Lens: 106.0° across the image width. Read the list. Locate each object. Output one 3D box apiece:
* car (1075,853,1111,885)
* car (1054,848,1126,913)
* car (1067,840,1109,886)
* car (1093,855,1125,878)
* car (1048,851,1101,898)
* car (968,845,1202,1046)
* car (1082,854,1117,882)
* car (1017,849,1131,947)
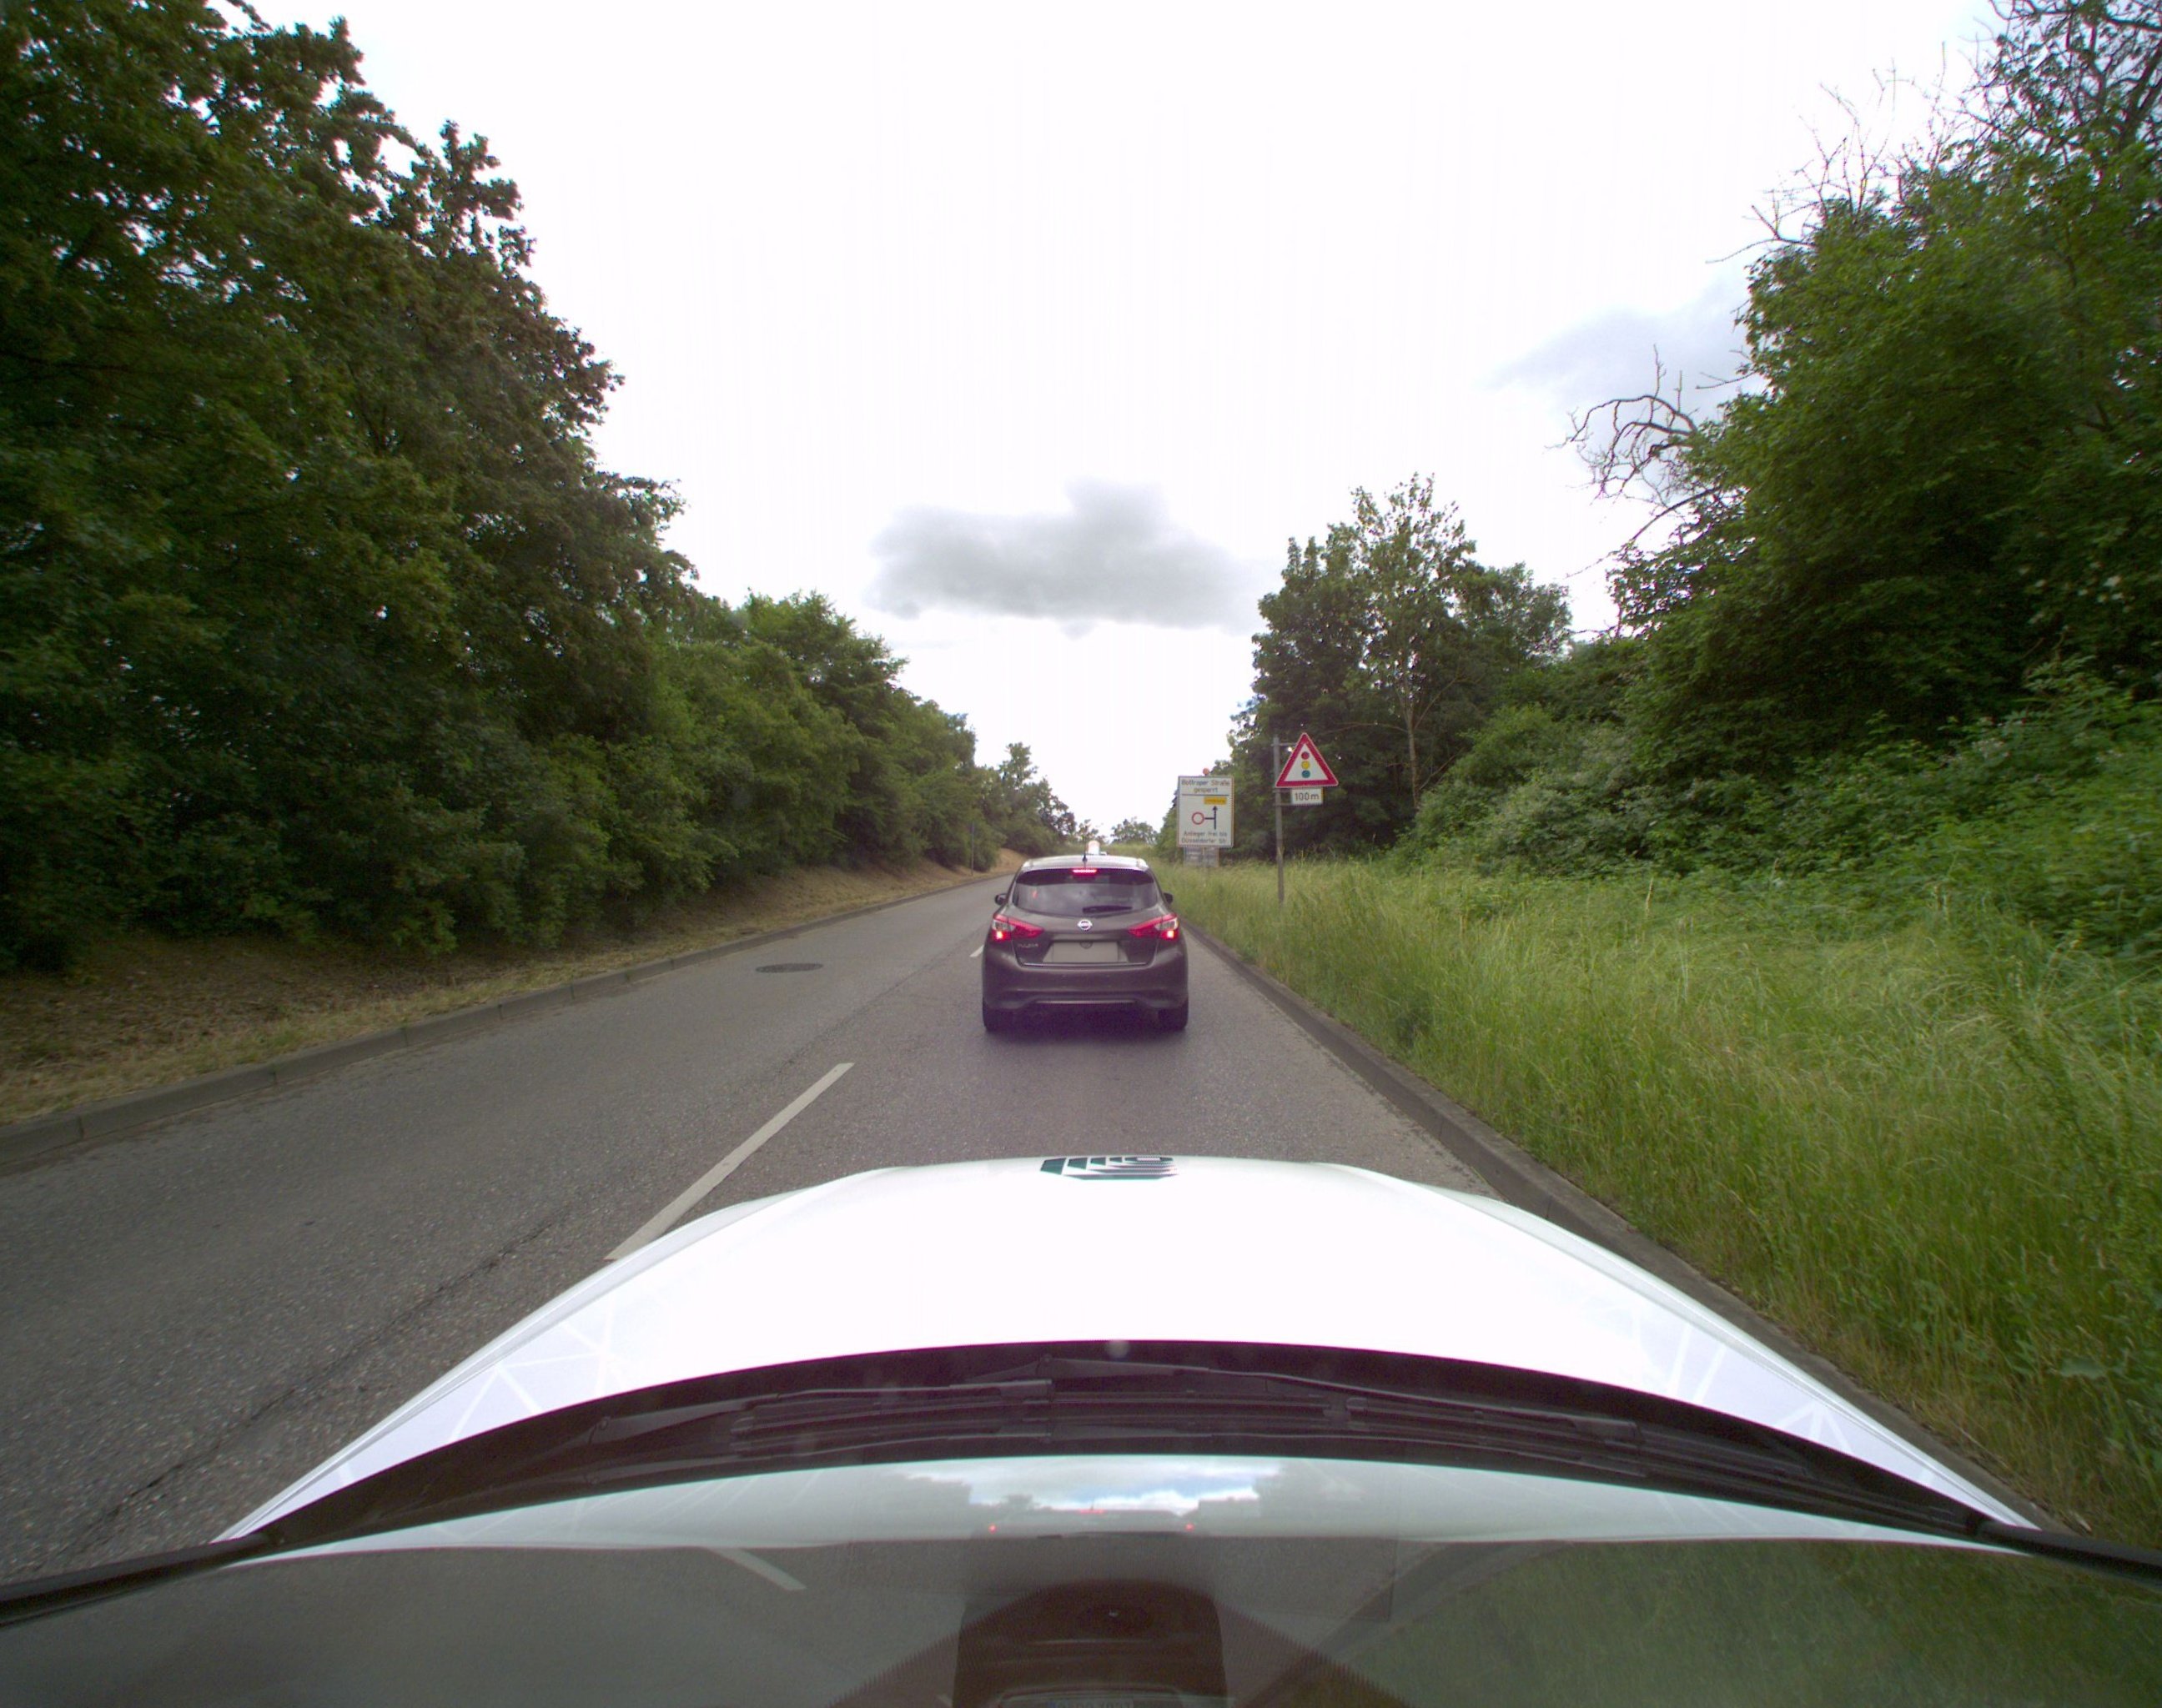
[{"bbox_3d":[0.585,0.728,41.725,1.730,1.526,3.543,-1,0,0],"label":"car"},{"bbox_3d":[0.276,0.645,21.660,1.729,1.556,3.545,-1,0,2],"label":"car"},{"bbox_3d":[0.374,0.383,36.530,1.729,1.935,3.545,-1,0,2],"label":"car"},{"bbox_3d":[2.025,0.837,57.967,1.724,1.526,3.653,-1,0,11],"label":"car"},{"bbox_3d":[-0.166,0.681,29.224,1.729,1.556,3.545,-1,0,2],"label":"car"},{"bbox_3d":[0.028,0.713,8.153,1.824,1.556,3.498,-1,0,0],"label":"car"},{"bbox_3d":[1.143,0.818,48.776,1.727,1.526,3.648,-1,0,7],"label":"car"},{"bbox_3d":[-0.057,0.719,15.085,1.823,1.556,3.626,-1,0,2],"label":"car"}]
